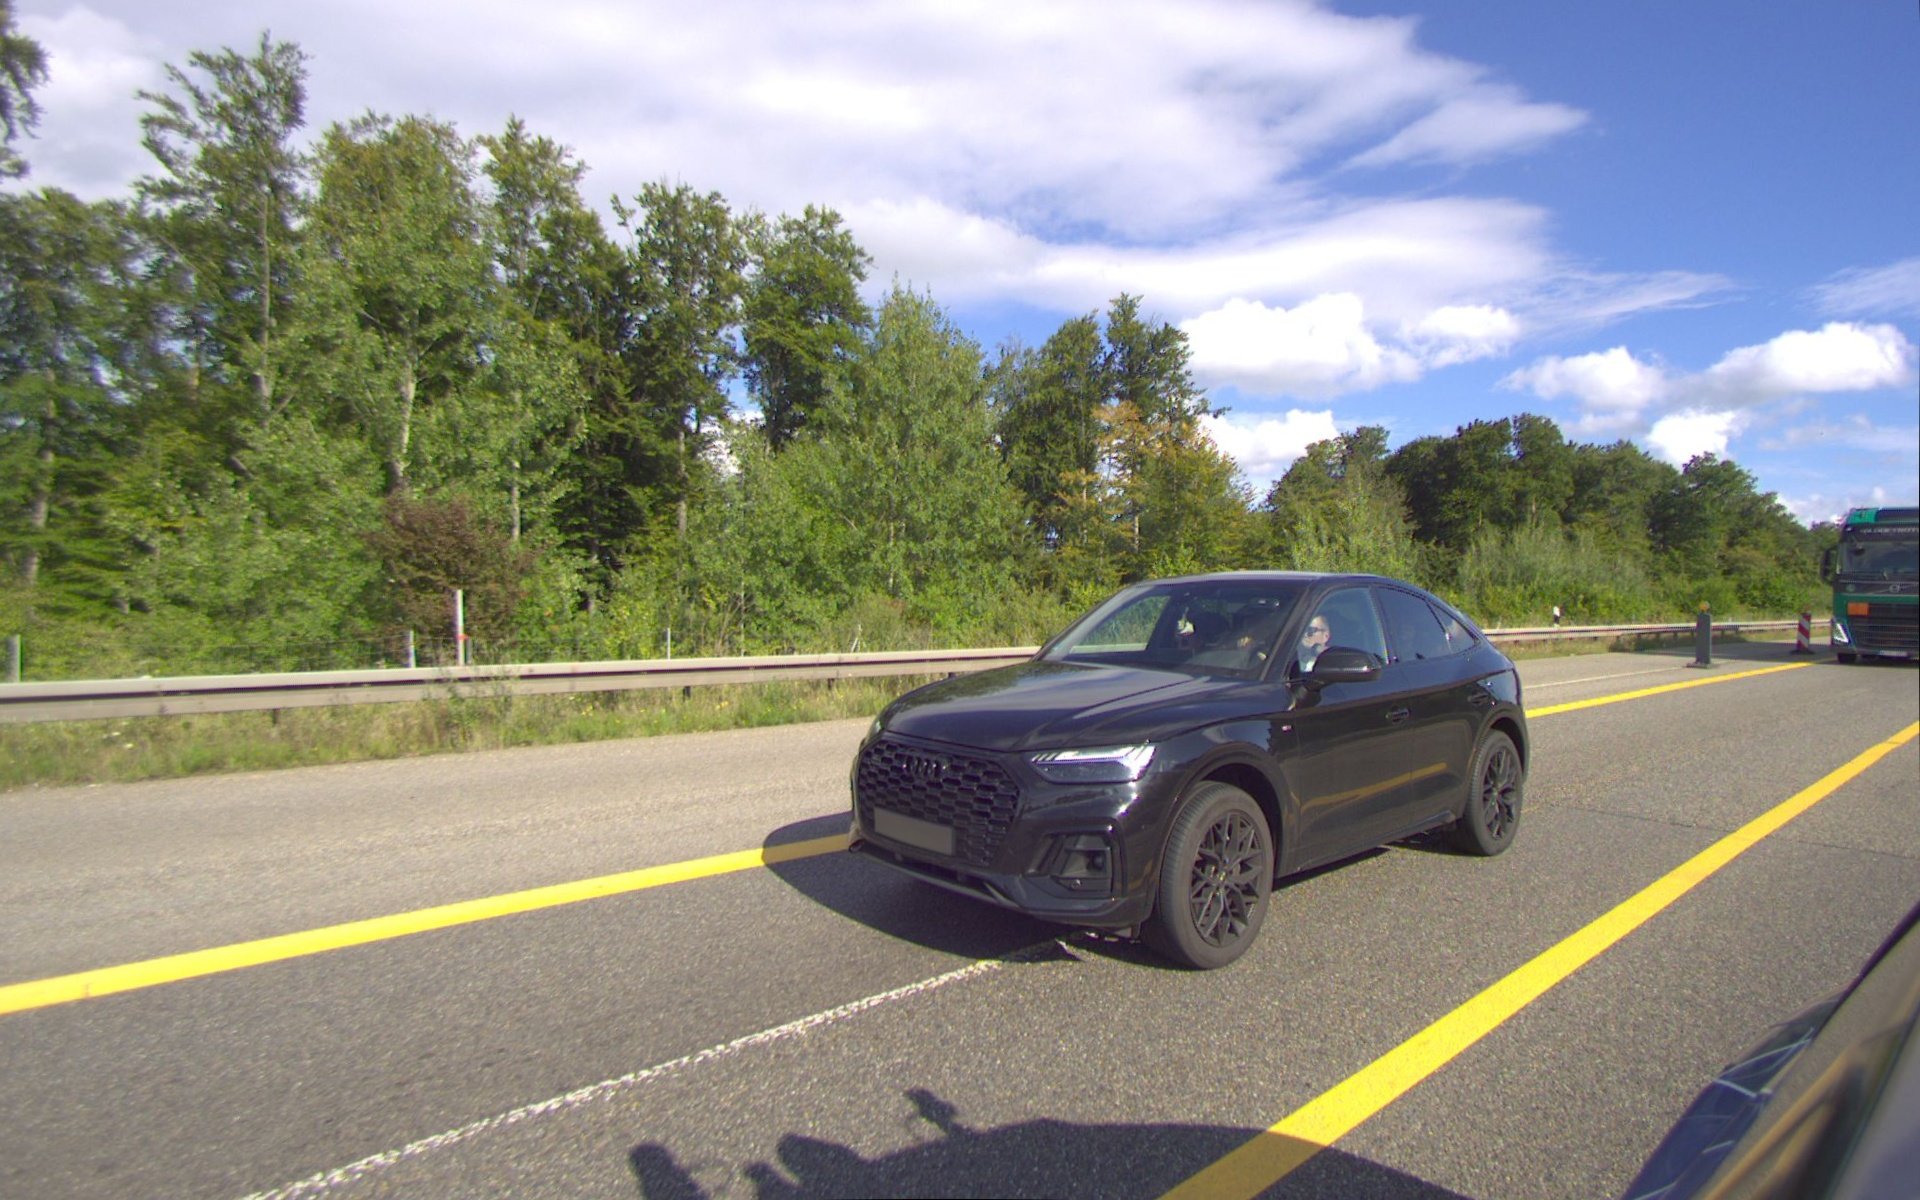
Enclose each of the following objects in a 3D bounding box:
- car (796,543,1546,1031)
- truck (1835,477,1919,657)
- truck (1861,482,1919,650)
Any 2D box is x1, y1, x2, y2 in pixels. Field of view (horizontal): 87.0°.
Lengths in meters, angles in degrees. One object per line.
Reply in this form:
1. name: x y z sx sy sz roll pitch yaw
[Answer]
1. car: 1.396 0.607 5.443 4.219 1.623 1.781 0 0 -41
2. truck: 24.638 -0.780 25.730 6.734 4.151 2.527 0 0 -40
3. truck: 29.426 -0.802 29.652 13.955 4.196 2.469 1 -1 -40
